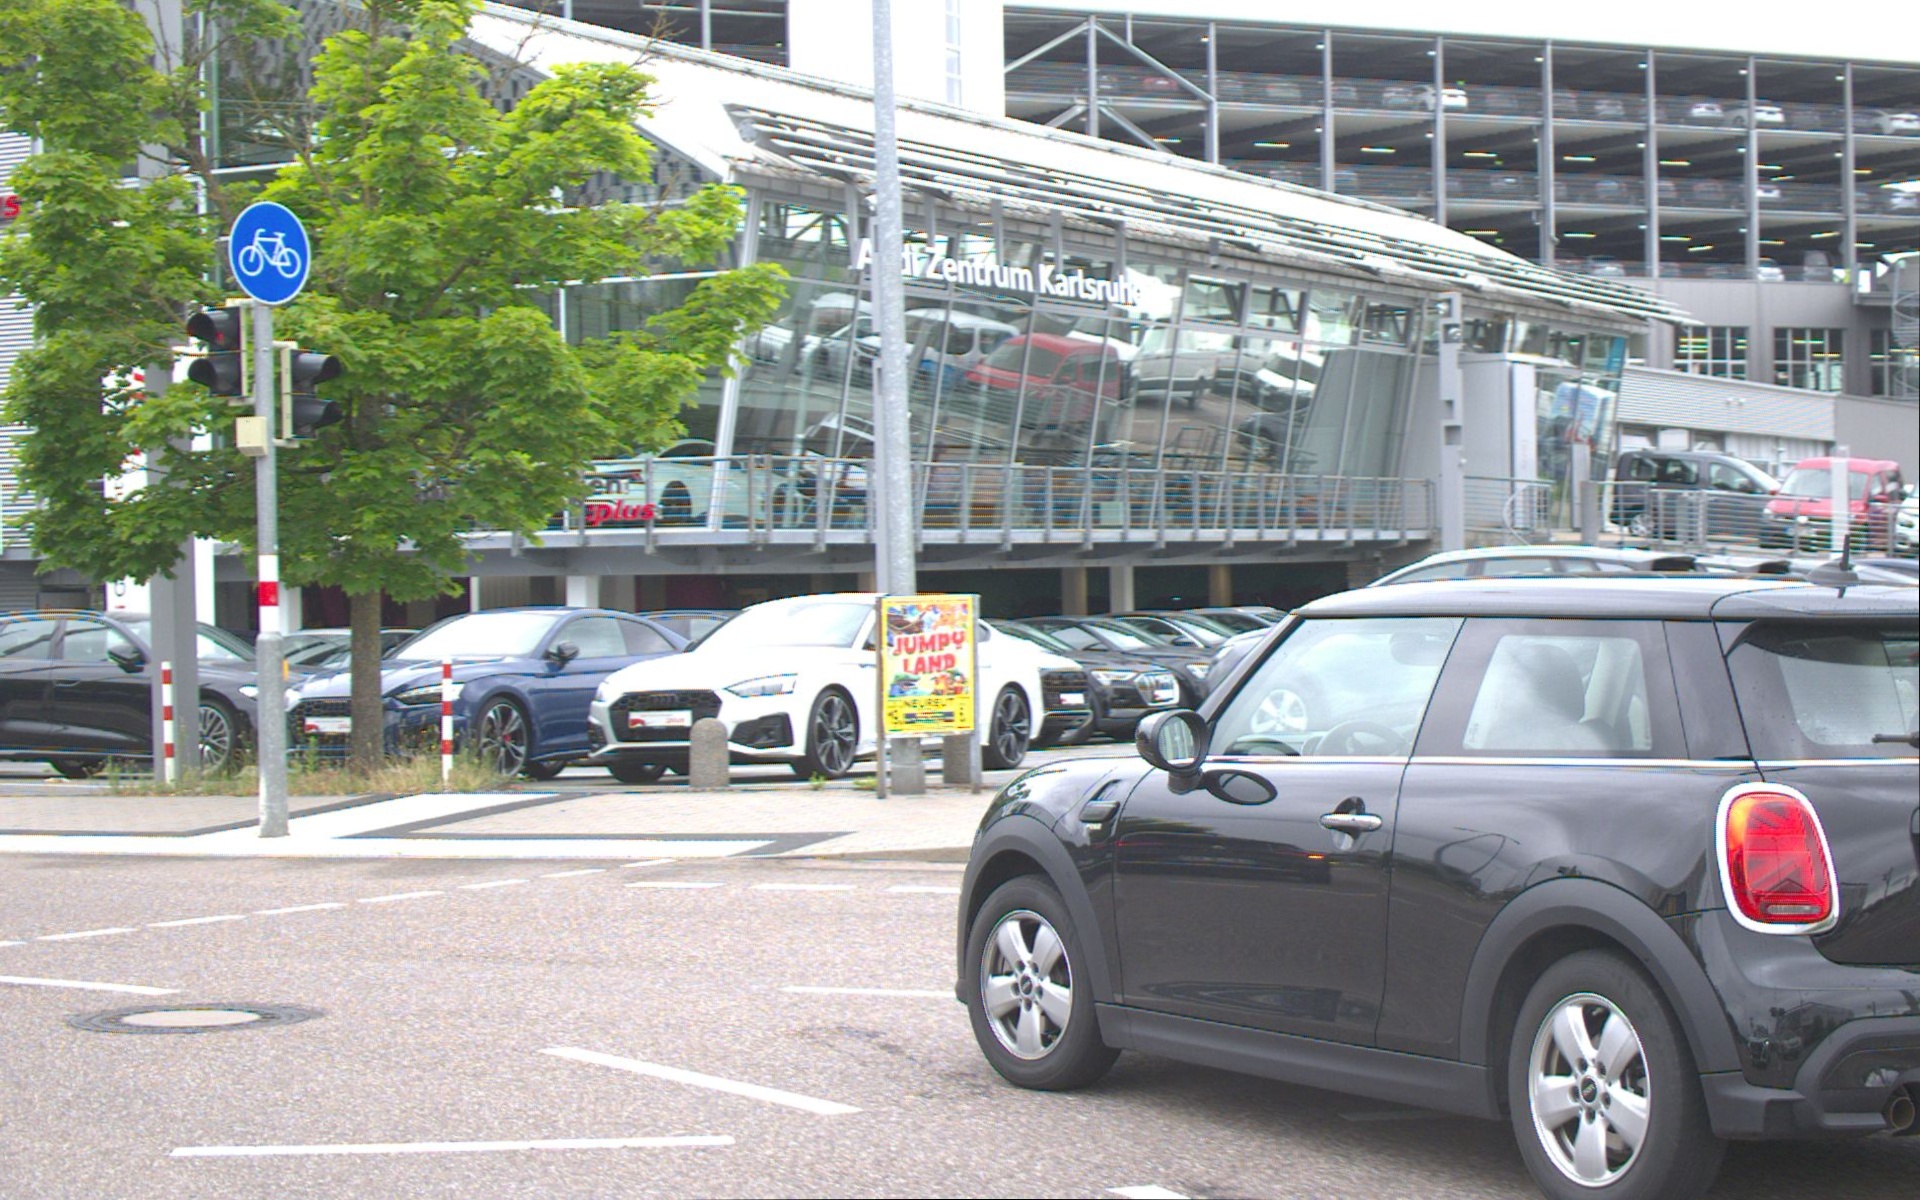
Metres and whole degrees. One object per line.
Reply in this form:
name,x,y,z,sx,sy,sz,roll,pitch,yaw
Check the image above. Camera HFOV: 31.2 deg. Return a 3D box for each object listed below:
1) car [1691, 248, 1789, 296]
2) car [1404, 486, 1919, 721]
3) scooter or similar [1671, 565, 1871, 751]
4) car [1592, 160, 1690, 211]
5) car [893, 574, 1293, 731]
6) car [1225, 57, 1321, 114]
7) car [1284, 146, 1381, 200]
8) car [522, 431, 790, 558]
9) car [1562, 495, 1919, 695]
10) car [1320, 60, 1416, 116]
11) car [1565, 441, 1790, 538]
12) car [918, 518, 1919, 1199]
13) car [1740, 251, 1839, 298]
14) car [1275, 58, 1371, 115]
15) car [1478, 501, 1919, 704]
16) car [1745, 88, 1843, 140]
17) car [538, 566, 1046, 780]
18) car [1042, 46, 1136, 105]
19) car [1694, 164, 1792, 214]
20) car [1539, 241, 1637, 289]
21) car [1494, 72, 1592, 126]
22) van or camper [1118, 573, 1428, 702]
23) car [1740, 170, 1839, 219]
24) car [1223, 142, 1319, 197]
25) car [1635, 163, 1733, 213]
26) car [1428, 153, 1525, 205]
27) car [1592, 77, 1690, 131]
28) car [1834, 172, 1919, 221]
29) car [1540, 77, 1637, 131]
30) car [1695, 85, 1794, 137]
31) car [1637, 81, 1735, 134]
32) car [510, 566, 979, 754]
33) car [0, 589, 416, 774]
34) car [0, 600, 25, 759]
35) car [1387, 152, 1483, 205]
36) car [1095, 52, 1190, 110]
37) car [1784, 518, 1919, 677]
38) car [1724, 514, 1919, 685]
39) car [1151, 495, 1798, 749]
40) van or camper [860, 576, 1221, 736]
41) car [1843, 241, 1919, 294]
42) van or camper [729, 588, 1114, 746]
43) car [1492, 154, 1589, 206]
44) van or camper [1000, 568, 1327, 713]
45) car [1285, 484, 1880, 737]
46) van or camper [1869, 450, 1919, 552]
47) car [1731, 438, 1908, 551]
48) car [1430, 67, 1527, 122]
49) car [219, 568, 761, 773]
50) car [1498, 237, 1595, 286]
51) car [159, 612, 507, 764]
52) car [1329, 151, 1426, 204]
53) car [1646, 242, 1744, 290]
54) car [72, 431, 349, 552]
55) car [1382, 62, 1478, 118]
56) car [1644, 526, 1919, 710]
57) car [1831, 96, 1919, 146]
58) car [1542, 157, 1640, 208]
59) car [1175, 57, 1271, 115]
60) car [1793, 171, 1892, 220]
car,33.069,-13.887,145.772,1.993,1.661,4.001,0,1,-25
car,7.049,0.069,32.837,5.030,2.007,2.262,-2,-1,28
scooter or similar,5.650,0.386,23.924,1.556,1.214,0.558,-1,3,-43
car,28.313,-17.241,143.011,1.993,1.661,4.001,0,1,-25
car,1.712,0.662,44.770,4.809,1.933,1.997,-1,1,30
car,12.301,-20.230,135.418,1.993,1.661,4.001,0,1,-25
car,14.729,-16.878,136.139,1.993,1.661,4.001,0,1,-25
car,-4.186,-1.446,47.897,1.822,1.656,3.994,1,1,28
car,9.217,-0.042,37.524,4.779,2.007,1.997,-2,-1,27
car,16.309,-20.484,137.559,1.993,1.661,4.001,0,1,-25
car,14.233,-2.196,68.215,3.994,1.831,1.757,2,1,30
car,1.513,0.669,8.755,1.785,1.411,3.643,3,-4,-27
car,35.310,-13.851,146.398,1.993,1.661,4.001,0,1,-25
car,14.388,-20.357,136.371,1.993,1.661,4.001,0,1,-25
car,8.016,0.048,35.121,4.953,1.870,2.051,-2,-1,27
car,35.519,-20.695,146.491,1.993,1.661,4.001,0,1,-25
car,-1.174,0.562,26.078,1.872,1.481,4.222,-1,-2,30
car,4.943,-20.121,132.071,1.993,1.661,4.001,0,1,-25
car,33.039,-17.335,145.198,1.993,1.661,4.001,0,1,-25
car,25.918,-13.824,141.991,1.993,1.661,4.001,0,1,-25
car,23.864,-20.502,140.861,1.993,1.661,4.001,0,1,-25
van or camper,4.481,0.505,49.285,3.993,1.705,1.844,1,1,29
car,35.325,-17.256,146.511,1.993,1.661,4.001,0,1,-25
car,12.229,-16.914,135.203,1.993,1.661,4.001,0,1,-25
car,30.297,-17.240,143.925,1.993,1.661,4.001,0,1,-25
car,21.019,-17.108,139.961,1.993,1.661,4.001,0,1,-25
car,28.328,-20.627,143.091,1.993,1.661,4.001,0,1,-25
car,39.914,-17.437,148.725,1.993,1.661,4.001,0,1,-25
car,25.920,-20.475,141.919,1.993,1.661,4.001,0,1,-25
car,33.134,-20.645,145.304,1.993,1.661,4.001,0,1,-25
car,30.389,-20.589,143.920,1.993,1.661,4.001,0,1,-25
car,-2.384,0.632,37.700,4.809,1.933,1.997,-1,1,30
car,-7.148,0.713,29.522,4.747,1.481,1.889,-1,-2,30
car,-10.669,0.689,31.062,1.850,1.481,4.191,0,-2,30
car,19.146,-16.994,138.703,1.993,1.661,4.001,0,1,-25
car,7.054,-20.093,133.288,1.993,1.661,4.001,0,1,-25
car,13.449,-0.077,44.736,4.900,2.007,1.997,-2,-1,28
car,12.112,-0.036,42.235,4.900,2.007,1.997,-2,-1,28
car,4.176,0.211,28.065,4.779,1.856,1.997,-2,-1,28
van or camper,0.982,0.649,42.156,3.993,1.809,1.844,1,1,29
car,41.559,-14.627,151.245,2.203,1.938,5.332,0,1,-29
van or camper,-0.453,0.741,39.959,3.993,1.671,1.997,1,1,29
car,23.762,-17.182,140.829,1.993,1.661,4.001,0,1,-25
van or camper,2.752,0.519,46.633,3.993,1.809,1.844,1,1,29
car,5.461,0.130,30.289,4.708,2.007,1.997,-2,-1,29
van or camper,16.922,-1.644,58.296,1.997,1.645,3.994,1,1,29
car,14.992,-1.816,59.838,1.997,1.842,3.993,1,1,29
car,21.027,-20.519,139.563,1.993,1.661,4.001,0,1,-25
car,-3.637,0.613,27.458,2.066,1.481,4.509,-2,-3,28
car,24.011,-13.846,140.885,1.993,1.661,4.001,0,1,-25
car,-7.551,1.017,41.794,1.807,1.690,4.312,1,1,29
car,16.653,-16.858,137.256,1.993,1.661,4.001,0,1,-25
car,30.823,-13.988,144.336,1.993,1.661,4.001,0,1,-25
car,-10.991,-1.572,50.631,1.822,1.656,3.994,1,1,28
car,18.947,-20.548,138.693,1.993,1.661,4.001,0,1,-25
car,10.667,0.191,39.937,4.900,2.007,1.997,-2,-1,28
car,39.876,-20.767,149.134,1.993,1.661,4.001,0,1,-25
car,26.033,-17.216,141.882,1.993,1.661,4.001,0,1,-25
car,10.245,-20.042,134.162,1.993,1.661,4.001,0,1,-25
car,37.903,-17.381,147.699,1.993,1.661,4.001,0,1,-25
